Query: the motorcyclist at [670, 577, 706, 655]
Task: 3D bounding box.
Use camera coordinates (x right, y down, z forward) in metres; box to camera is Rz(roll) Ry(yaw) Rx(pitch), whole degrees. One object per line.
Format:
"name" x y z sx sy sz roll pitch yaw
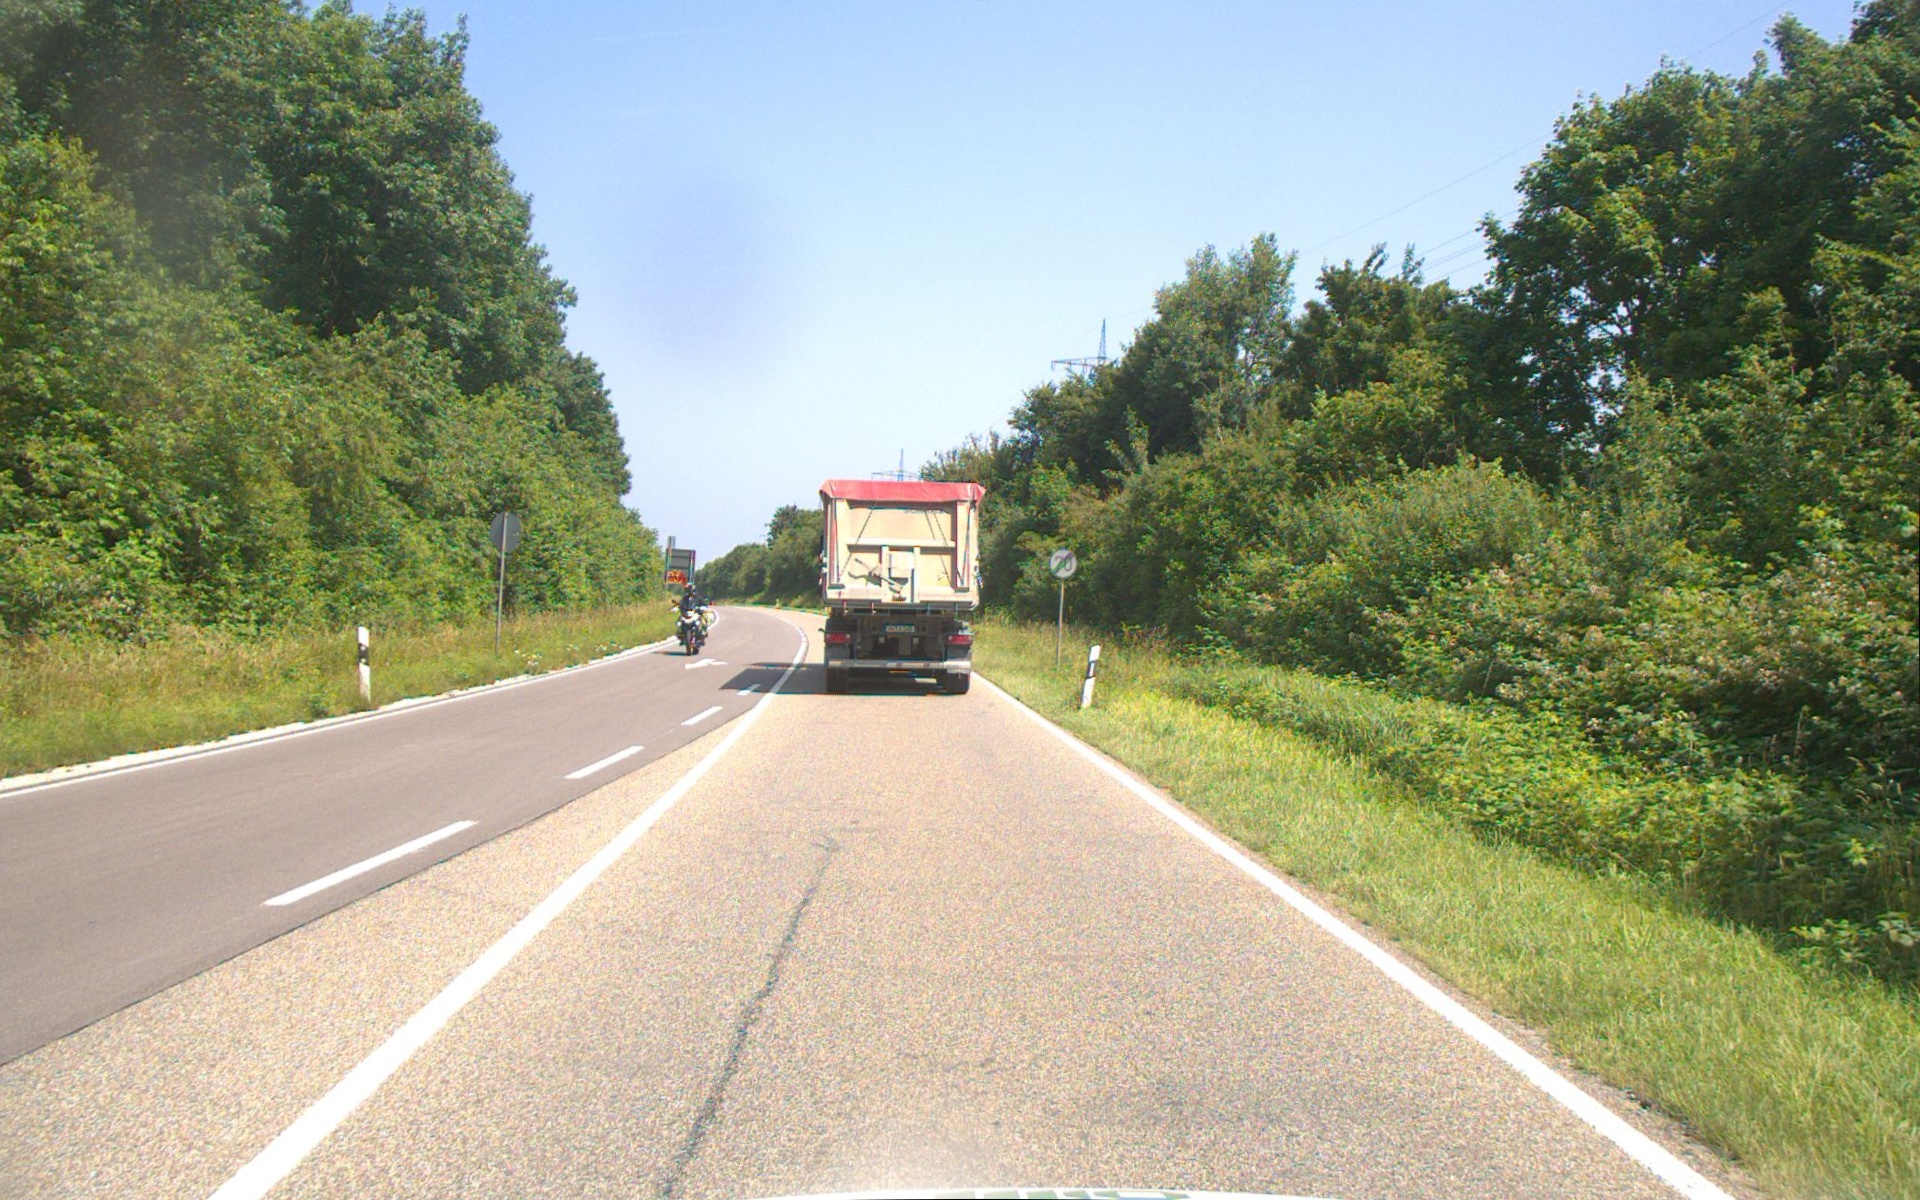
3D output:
"motorcyclist" -6.770 0.389 41.157 0.804 1.914 0.656 1 0 -5

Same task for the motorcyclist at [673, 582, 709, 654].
"motorcyclist" -6.800 0.457 41.860 0.814 1.782 0.622 1 0 -5

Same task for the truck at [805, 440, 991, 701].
"truck" -1.216 -0.486 31.900 2.835 4.031 11.927 1 0 -2

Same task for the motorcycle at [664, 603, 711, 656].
"motorcycle" -6.806 0.719 41.444 0.928 1.273 2.679 1 0 -5
